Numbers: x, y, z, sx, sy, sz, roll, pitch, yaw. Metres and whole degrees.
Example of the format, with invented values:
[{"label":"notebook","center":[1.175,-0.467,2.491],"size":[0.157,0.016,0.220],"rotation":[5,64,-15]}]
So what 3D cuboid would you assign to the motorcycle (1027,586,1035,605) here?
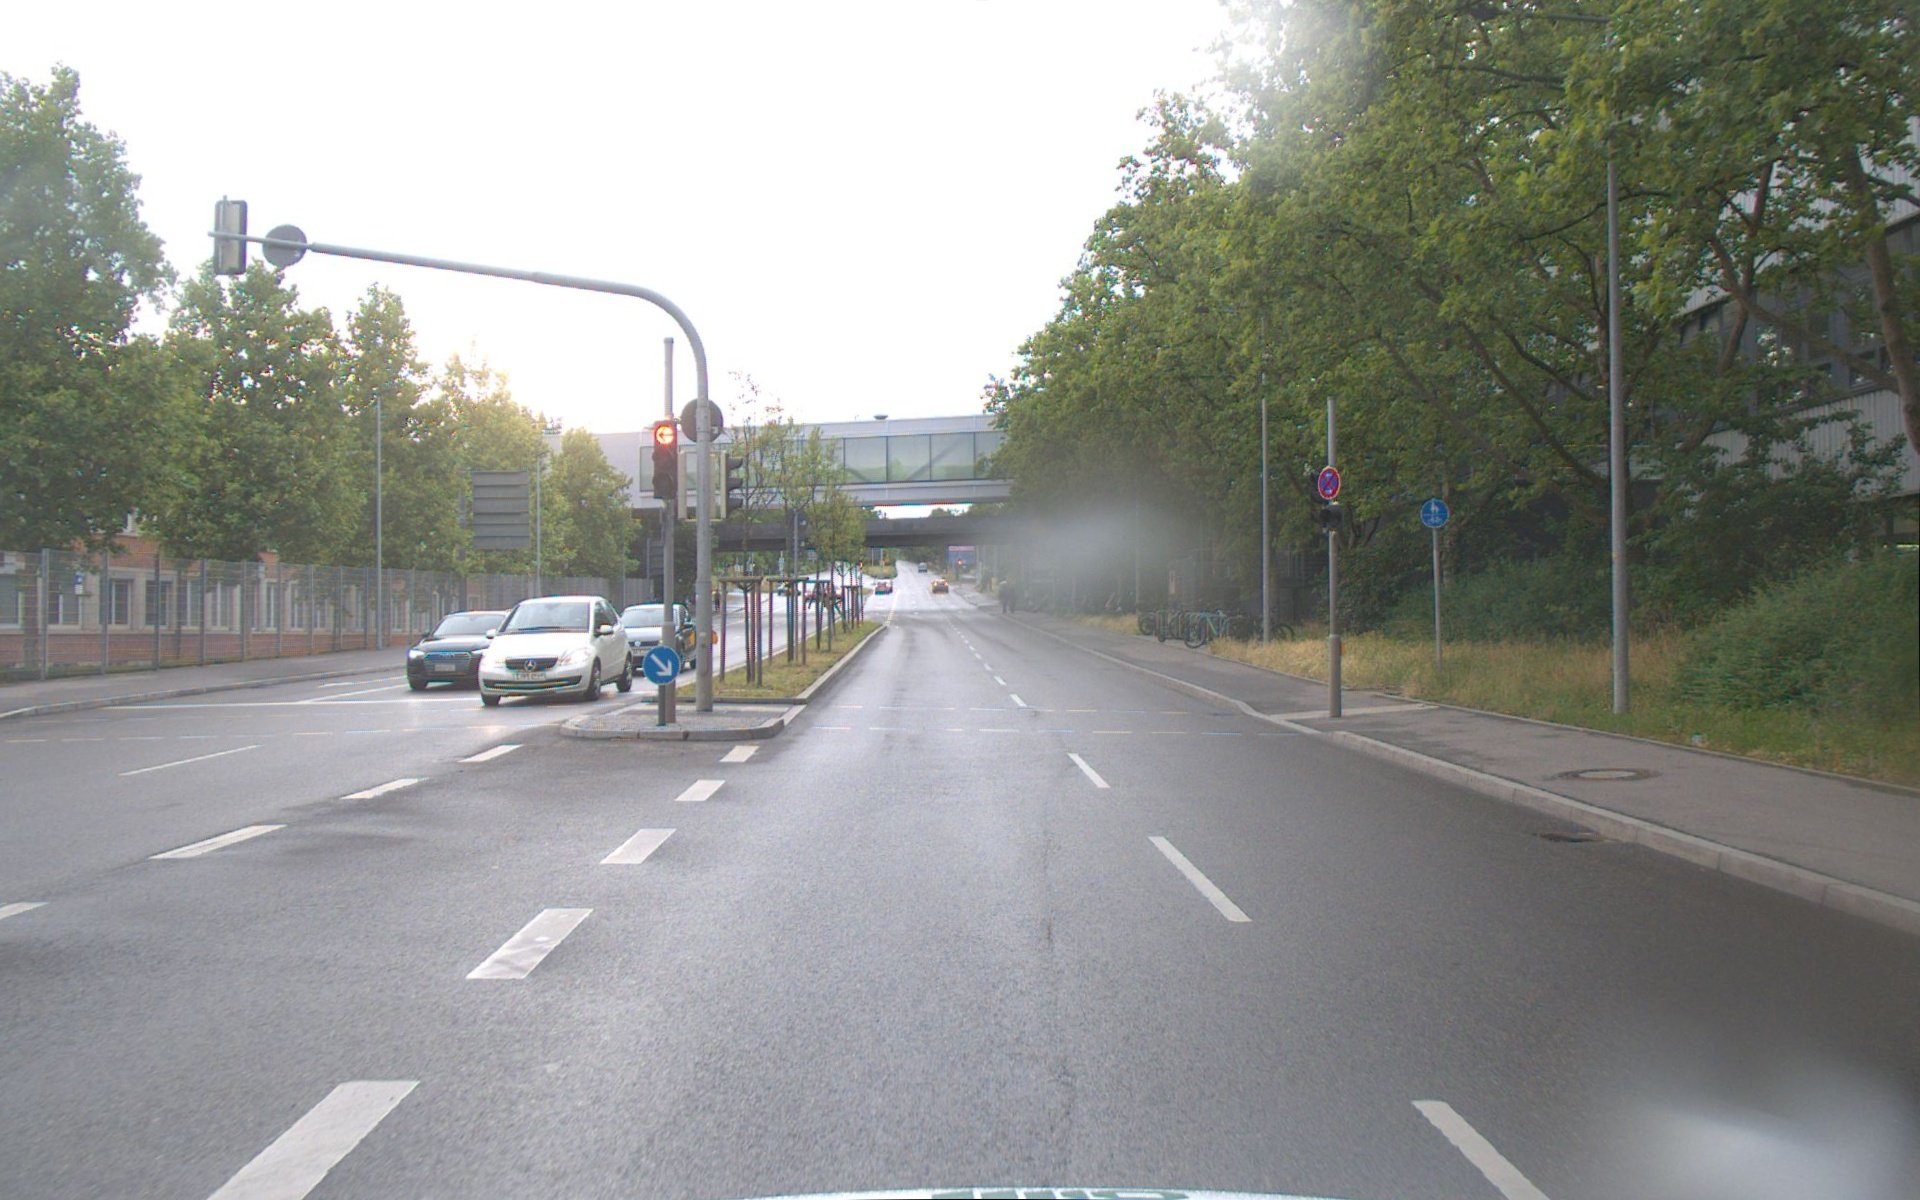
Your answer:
[{"label":"motorcycle","center":[4.768,-0.288,110.725],"size":[0.459,1.234,1.946],"rotation":[-1,0,4]}]

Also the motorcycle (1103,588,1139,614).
[{"label":"motorcycle","center":[7.407,0.036,76.209],"size":[1.618,1.170,0.493],"rotation":[1,-1,6]}]

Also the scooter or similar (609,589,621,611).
[{"label":"scooter or similar","center":[-20.208,-0.015,96.912],"size":[0.305,1.239,1.308],"rotation":[-1,1,3]}]

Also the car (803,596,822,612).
[{"label":"car","center":[-14.812,0.408,165.683],"size":[1.681,1.462,3.770],"rotation":[-2,0,-3]}]

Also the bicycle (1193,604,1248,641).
[{"label":"bicycle","center":[7.555,0.655,47.985],"size":[1.520,1.022,0.393],"rotation":[-2,0,-2]}]

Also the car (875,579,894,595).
[{"label":"car","center":[-8.809,-1.509,192.001],"size":[2.035,1.748,4.195],"rotation":[2,0,-4]}]

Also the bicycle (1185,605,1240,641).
[{"label":"bicycle","center":[7.452,0.673,48.802],"size":[1.520,1.022,0.393],"rotation":[-2,0,-2]}]

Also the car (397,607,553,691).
[{"label":"car","center":[-9.327,0.895,32.193],"size":[1.737,1.428,4.613],"rotation":[-2,0,-1]}]

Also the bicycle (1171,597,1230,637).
[{"label":"bicycle","center":[7.445,0.519,51.225],"size":[1.754,1.187,0.447],"rotation":[-2,0,-8]}]

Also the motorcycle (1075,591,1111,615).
[{"label":"motorcycle","center":[6.929,0.173,86.097],"size":[1.819,1.212,0.519],"rotation":[-1,1,-18]}]

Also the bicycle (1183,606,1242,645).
[{"label":"bicycle","center":[6.855,0.687,44.974],"size":[1.520,1.022,0.393],"rotation":[-2,0,-2]}]

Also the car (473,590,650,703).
[{"label":"car","center":[-6.311,0.701,26.696],"size":[1.735,1.617,4.485],"rotation":[-2,0,0]}]

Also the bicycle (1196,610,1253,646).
[{"label":"bicycle","center":[7.565,0.799,47.320],"size":[1.520,0.975,0.393],"rotation":[-2,0,-2]}]

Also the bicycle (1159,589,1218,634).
[{"label":"bicycle","center":[7.316,0.372,53.007],"size":[1.826,1.372,0.446],"rotation":[-2,0,-14]}]

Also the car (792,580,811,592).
[{"label":"car","center":[-18.855,-1.674,196.767],"size":[2.023,1.385,4.754],"rotation":[-1,1,-3]}]

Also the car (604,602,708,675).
[{"label":"car","center":[-6.491,0.789,35.654],"size":[1.546,1.428,4.110],"rotation":[-2,0,-1]}]

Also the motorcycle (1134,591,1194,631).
[{"label":"motorcycle","center":[6.996,0.379,56.649],"size":[1.966,1.295,0.442],"rotation":[-2,0,11]}]

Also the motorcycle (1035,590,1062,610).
[{"label":"motorcycle","center":[5.868,-0.013,109.595],"size":[0.543,1.320,1.914],"rotation":[-1,0,-42]}]

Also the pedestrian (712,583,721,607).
[{"label":"pedestrian","center":[-19.240,-0.404,130.808],"size":[0.508,1.847,0.800],"rotation":[0,1,8]}]

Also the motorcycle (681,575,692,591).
[{"label":"motorcycle","center":[-21.356,-1.320,128.980],"size":[0.459,1.179,1.933],"rotation":[-1,1,1]}]

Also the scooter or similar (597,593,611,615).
[{"label":"scooter or similar","center":[-20.194,0.238,93.822],"size":[0.305,1.239,1.309],"rotation":[-1,1,10]}]

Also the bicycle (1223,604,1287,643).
[{"label":"bicycle","center":[7.709,0.612,43.202],"size":[1.575,0.956,0.387],"rotation":[-2,0,-2]}]

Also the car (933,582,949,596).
[{"label":"car","center":[-2.258,-1.298,191.924],"size":[1.710,1.495,4.164],"rotation":[0,2,-3]}]

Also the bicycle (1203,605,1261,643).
[{"label":"bicycle","center":[7.558,0.660,46.001],"size":[1.520,1.022,0.393],"rotation":[-2,0,-2]}]

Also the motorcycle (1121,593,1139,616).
[{"label":"motorcycle","center":[9.835,0.240,95.662],"size":[0.341,1.301,2.069],"rotation":[-1,1,26]}]

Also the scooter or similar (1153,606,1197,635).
[{"label":"scooter or similar","center":[7.181,0.680,55.205],"size":[1.450,0.953,0.364],"rotation":[-2,0,-19]}]

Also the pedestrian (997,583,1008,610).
[{"label":"pedestrian","center":[2.764,-0.248,107.319],"size":[0.598,1.751,0.892],"rotation":[-1,0,8]}]

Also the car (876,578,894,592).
[{"label":"car","center":[-9.209,-1.861,202.741],"size":[2.122,1.610,4.662],"rotation":[1,0,-2]}]

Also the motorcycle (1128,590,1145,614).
[{"label":"motorcycle","center":[9.719,0.085,91.200],"size":[0.632,1.302,1.990],"rotation":[-1,0,-2]}]

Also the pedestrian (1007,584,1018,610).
[{"label":"pedestrian","center":[3.403,-0.204,107.254],"size":[0.636,1.624,0.579],"rotation":[-1,0,10]}]

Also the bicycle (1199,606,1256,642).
[{"label":"bicycle","center":[7.587,0.687,46.924],"size":[1.520,0.975,0.393],"rotation":[-2,0,-2]}]

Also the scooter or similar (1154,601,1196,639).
[{"label":"scooter or similar","center":[6.485,0.591,49.887],"size":[1.189,1.110,0.312],"rotation":[-2,0,-6]}]

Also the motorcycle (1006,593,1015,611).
[{"label":"motorcycle","center":[3.294,0.123,107.703],"size":[0.460,1.156,1.818],"rotation":[-1,0,-2]}]
